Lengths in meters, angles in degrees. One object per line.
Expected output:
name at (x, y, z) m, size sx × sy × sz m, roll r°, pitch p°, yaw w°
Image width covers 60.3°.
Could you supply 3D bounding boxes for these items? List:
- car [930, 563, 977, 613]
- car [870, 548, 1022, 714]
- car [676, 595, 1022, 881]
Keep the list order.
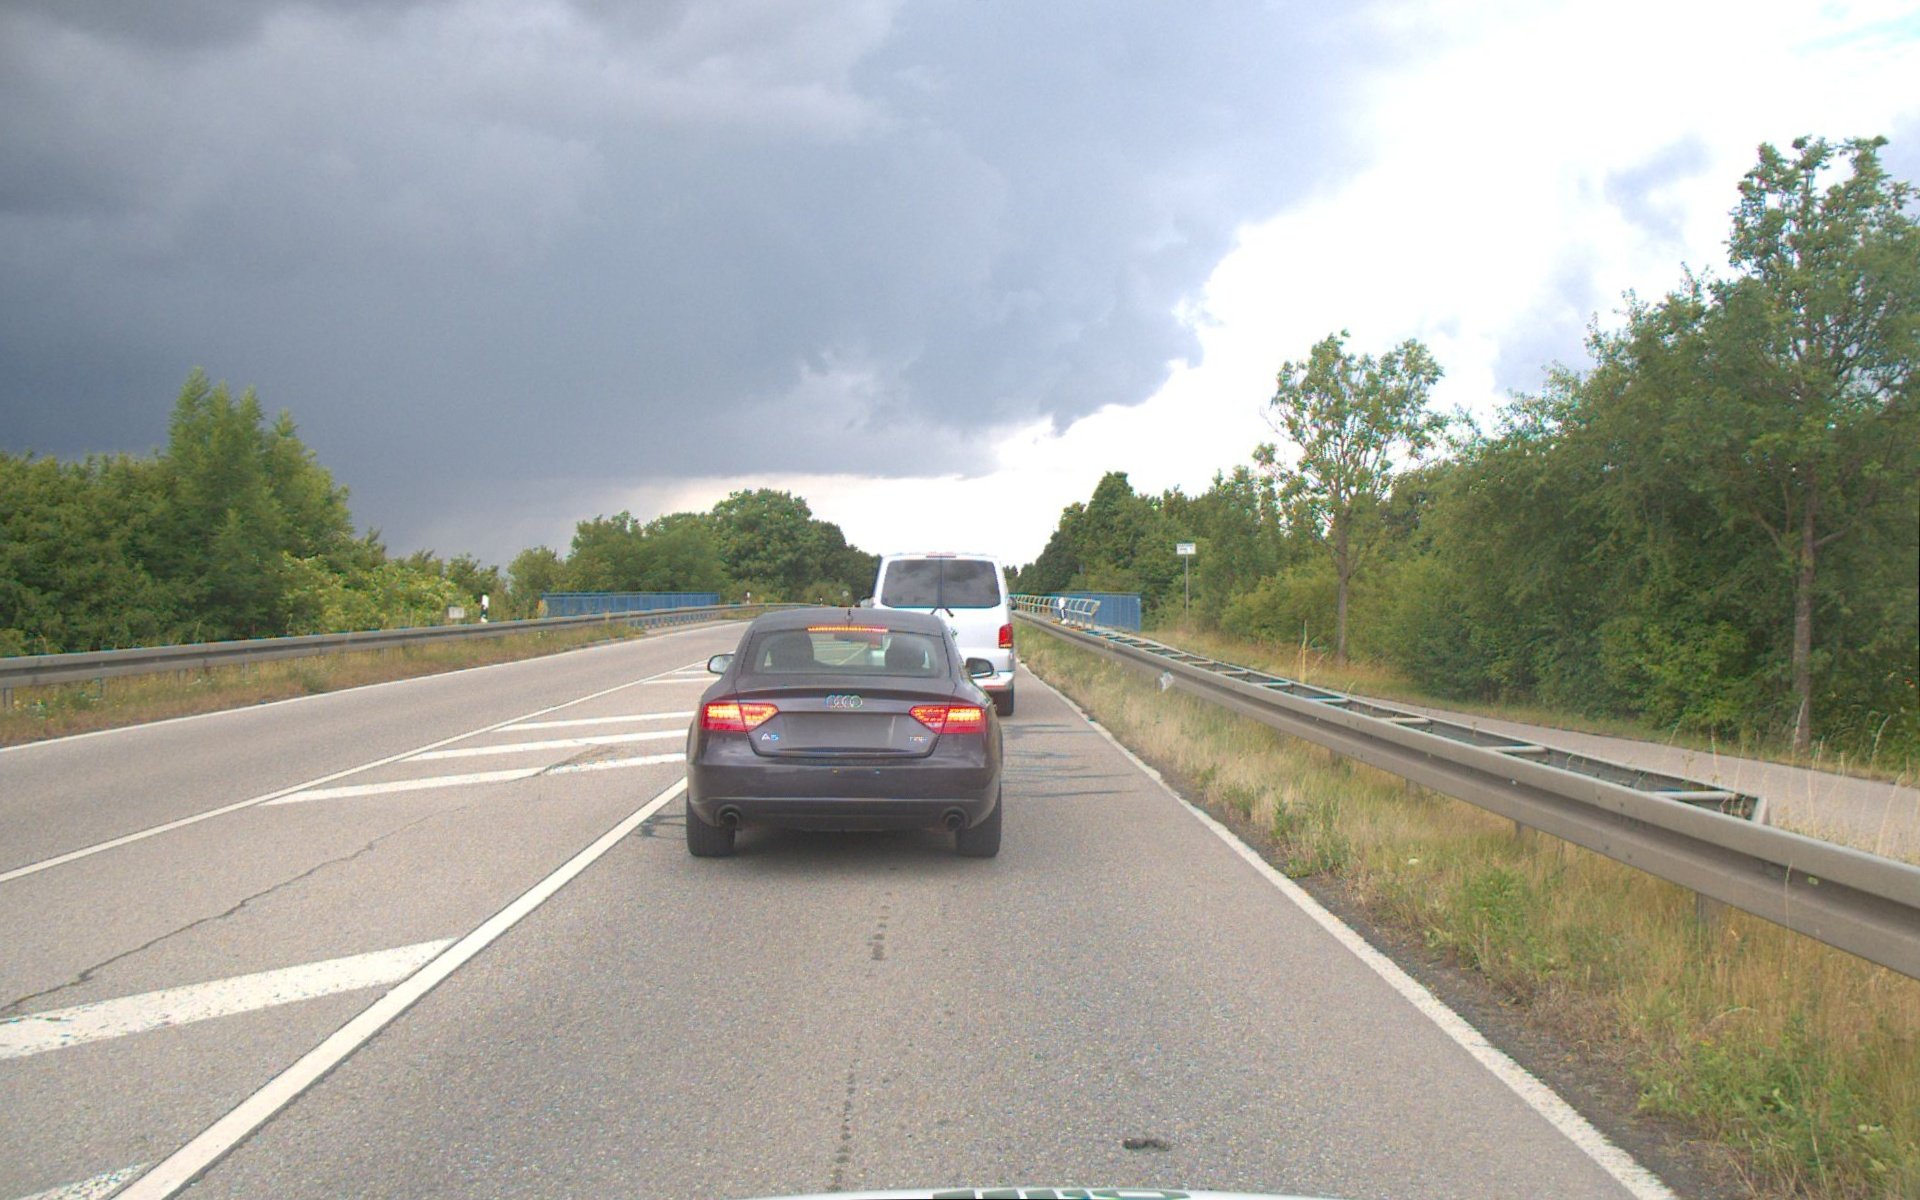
car at (-0.359, -0.650, 87.181) m, size 2.397 × 2.548 × 5.041 m, roll 1°, pitch 0°, yaw -1°
car at (-0.196, 0.377, 21.348) m, size 1.749 × 1.923 × 3.999 m, roll 1°, pitch 0°, yaw -1°
car at (-0.601, 0.717, 10.466) m, size 1.749 × 1.448 × 3.999 m, roll 1°, pitch 0°, yaw -1°
